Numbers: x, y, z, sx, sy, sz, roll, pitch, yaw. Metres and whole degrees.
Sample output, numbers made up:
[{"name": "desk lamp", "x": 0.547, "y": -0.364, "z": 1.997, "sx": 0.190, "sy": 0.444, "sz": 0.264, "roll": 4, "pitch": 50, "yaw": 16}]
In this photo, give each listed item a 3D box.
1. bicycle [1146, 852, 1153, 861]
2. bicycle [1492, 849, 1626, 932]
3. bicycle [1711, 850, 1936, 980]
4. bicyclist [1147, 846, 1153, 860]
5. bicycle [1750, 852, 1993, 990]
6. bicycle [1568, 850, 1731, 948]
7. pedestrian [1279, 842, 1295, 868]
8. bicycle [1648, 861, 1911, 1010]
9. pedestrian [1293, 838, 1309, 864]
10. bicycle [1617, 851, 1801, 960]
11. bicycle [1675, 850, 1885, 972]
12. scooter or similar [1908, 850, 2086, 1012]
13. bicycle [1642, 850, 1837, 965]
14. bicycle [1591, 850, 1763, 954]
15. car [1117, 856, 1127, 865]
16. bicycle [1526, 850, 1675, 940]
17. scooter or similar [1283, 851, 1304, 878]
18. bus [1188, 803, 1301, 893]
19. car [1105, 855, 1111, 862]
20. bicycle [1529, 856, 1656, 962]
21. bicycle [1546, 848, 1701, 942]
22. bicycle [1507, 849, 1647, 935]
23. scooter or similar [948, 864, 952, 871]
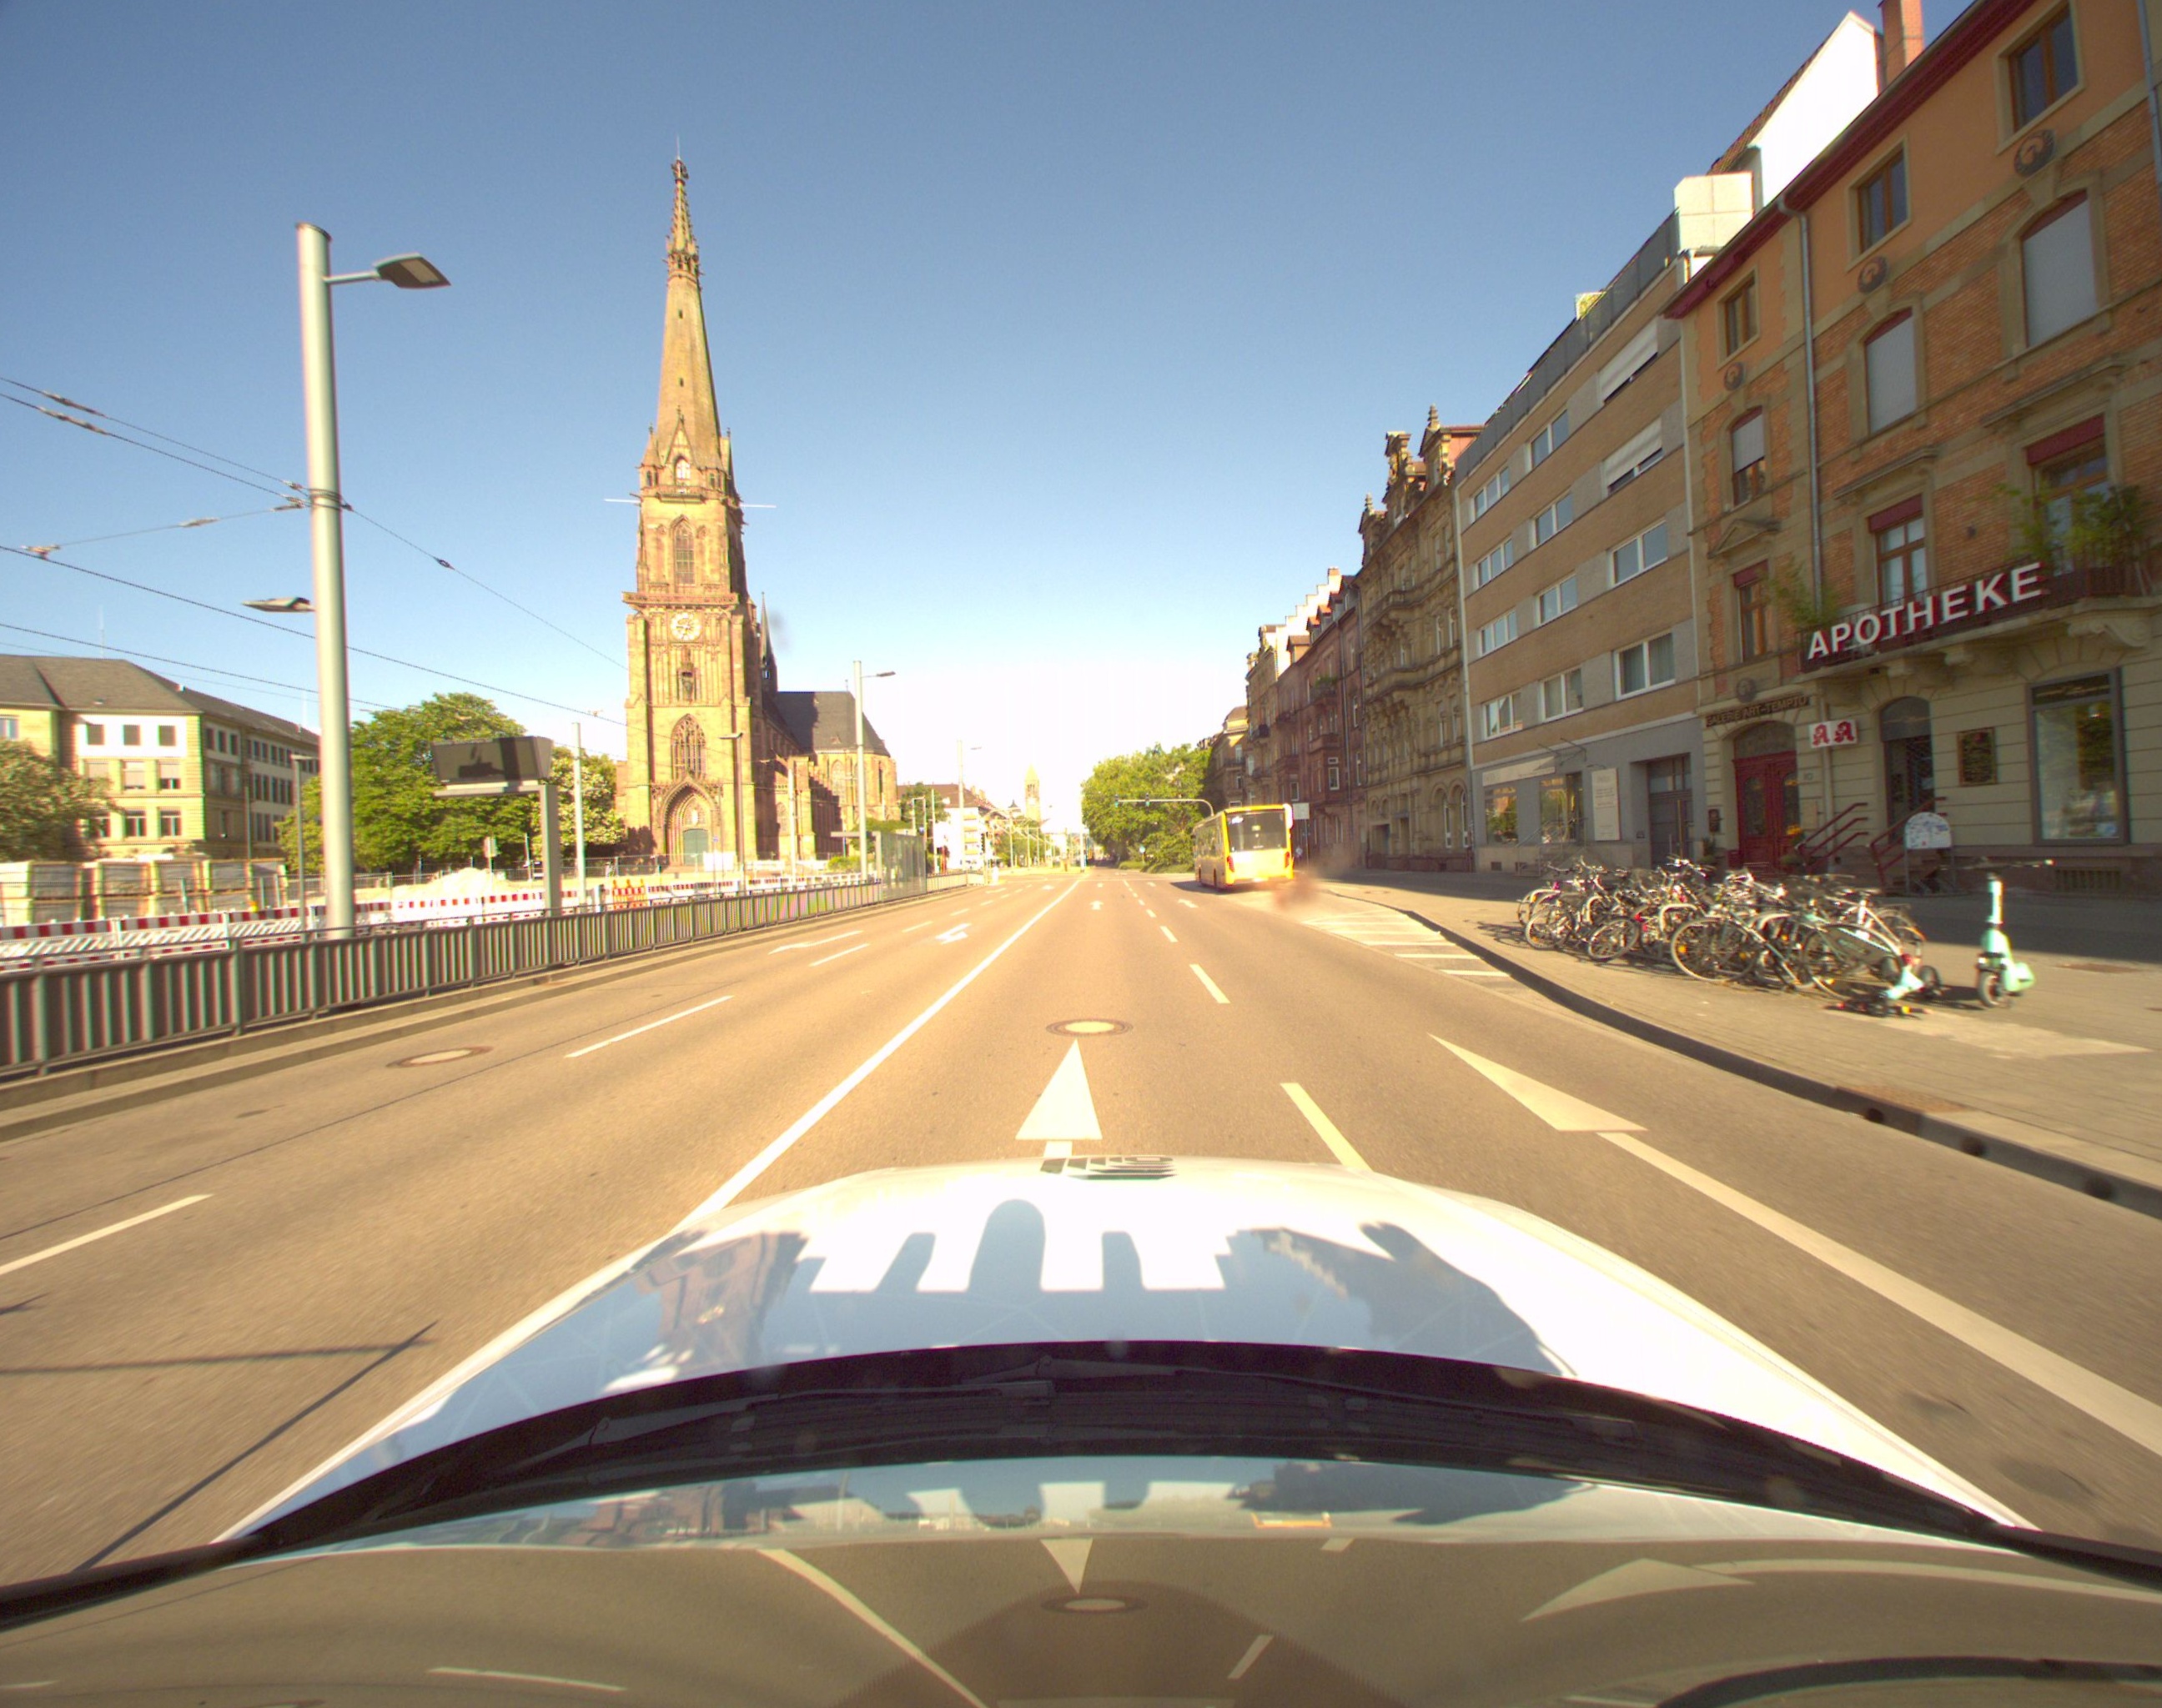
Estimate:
[{"name": "bicycle", "x": 9.135, "y": 0.345, "z": 108.321, "sx": 0.639, "sy": 1.048, "sz": 2.360, "roll": -4, "pitch": -1, "yaw": 1}, {"name": "bicycle", "x": 7.369, "y": 0.551, "z": 12.578, "sx": 1.758, "sy": 1.187, "sz": 0.470, "roll": -2, "pitch": 0, "yaw": 1}, {"name": "bicycle", "x": 7.310, "y": 0.584, "z": 8.054, "sx": 1.758, "sy": 1.178, "sz": 0.470, "roll": -2, "pitch": 0, "yaw": 1}, {"name": "bicyclist", "x": 9.119, "y": -0.109, "z": 108.174, "sx": 0.639, "sy": 1.815, "sz": 1.052, "roll": -4, "pitch": -2, "yaw": 1}, {"name": "bicycle", "x": 7.293, "y": 0.605, "z": 7.553, "sx": 1.758, "sy": 1.178, "sz": 0.470, "roll": -2, "pitch": 0, "yaw": 1}, {"name": "bicycle", "x": 7.367, "y": 0.573, "z": 10.583, "sx": 1.758, "sy": 1.187, "sz": 0.470, "roll": -2, "pitch": 0, "yaw": 1}, {"name": "pedestrian", "x": 15.490, "y": 0.081, "z": 61.242, "sx": 0.819, "sy": 1.930, "sz": 1.137, "roll": -3, "pitch": 0, "yaw": 1}, {"name": "bicycle", "x": 6.152, "y": 0.650, "z": 7.310, "sx": 0.470, "sy": 1.147, "sz": 1.758, "roll": -2, "pitch": 1, "yaw": -21}, {"name": "pedestrian", "x": 16.569, "y": -0.203, "z": 61.363, "sx": 0.819, "sy": 1.930, "sz": 1.137, "roll": -3, "pitch": 0, "yaw": 1}, {"name": "bicycle", "x": 7.343, "y": 0.587, "z": 9.560, "sx": 1.758, "sy": 1.187, "sz": 0.470, "roll": -2, "pitch": 0, "yaw": 1}, {"name": "bicycle", "x": 7.312, "y": 0.582, "z": 8.553, "sx": 1.758, "sy": 1.187, "sz": 0.470, "roll": -2, "pitch": 0, "yaw": 1}, {"name": "scooter or similar", "x": 7.617, "y": 0.596, "z": 6.777, "sx": 1.211, "sy": 1.216, "sz": 0.637, "roll": -1, "pitch": -2, "yaw": -26}, {"name": "bicycle", "x": 7.291, "y": 0.578, "z": 9.054, "sx": 1.758, "sy": 1.187, "sz": 0.470, "roll": -2, "pitch": 0, "yaw": 1}, {"name": "bicycle", "x": 7.353, "y": 0.582, "z": 10.080, "sx": 1.758, "sy": 1.187, "sz": 0.470, "roll": -2, "pitch": 0, "yaw": 1}, {"name": "car", "x": 7.184, "y": 1.093, "z": 142.629, "sx": 1.637, "sy": 1.511, "sz": 4.185, "roll": -4, "pitch": 0, "yaw": 2}, {"name": "bicycle", "x": 7.361, "y": 0.571, "z": 11.580, "sx": 1.785, "sy": 1.187, "sz": 0.470, "roll": -2, "pitch": 0, "yaw": 1}, {"name": "scooter or similar", "x": 10.450, "y": 0.529, "z": 40.063, "sx": 0.431, "sy": 1.249, "sz": 1.291, "roll": -4, "pitch": -1, "yaw": -8}, {"name": "bus", "x": 6.911, "y": -0.201, "z": 36.562, "sx": 2.705, "sy": 3.181, "sz": 12.545, "roll": -4, "pitch": 0, "yaw": 2}, {"name": "car", "x": 8.312, "y": 1.313, "z": 252.248, "sx": 1.986, "sy": 2.107, "sz": 4.002, "roll": -1, "pitch": -1, "yaw": 2}, {"name": "bicycle", "x": 6.231, "y": 0.623, "z": 10.024, "sx": 0.467, "sy": 1.147, "sz": 1.771, "roll": -2, "pitch": 1, "yaw": 2}, {"name": "bicycle", "x": 7.364, "y": 0.549, "z": 11.089, "sx": 1.758, "sy": 1.187, "sz": 0.470, "roll": -2, "pitch": 0, "yaw": 1}, {"name": "bicycle", "x": 7.338, "y": 0.554, "z": 12.084, "sx": 1.758, "sy": 1.187, "sz": 0.470, "roll": -2, "pitch": 0, "yaw": 1}, {"name": "scooter or similar", "x": -25.950, "y": 2.674, "z": 161.213, "sx": 0.400, "sy": 1.261, "sz": 1.231, "roll": -4, "pitch": 2, "yaw": 2}]
